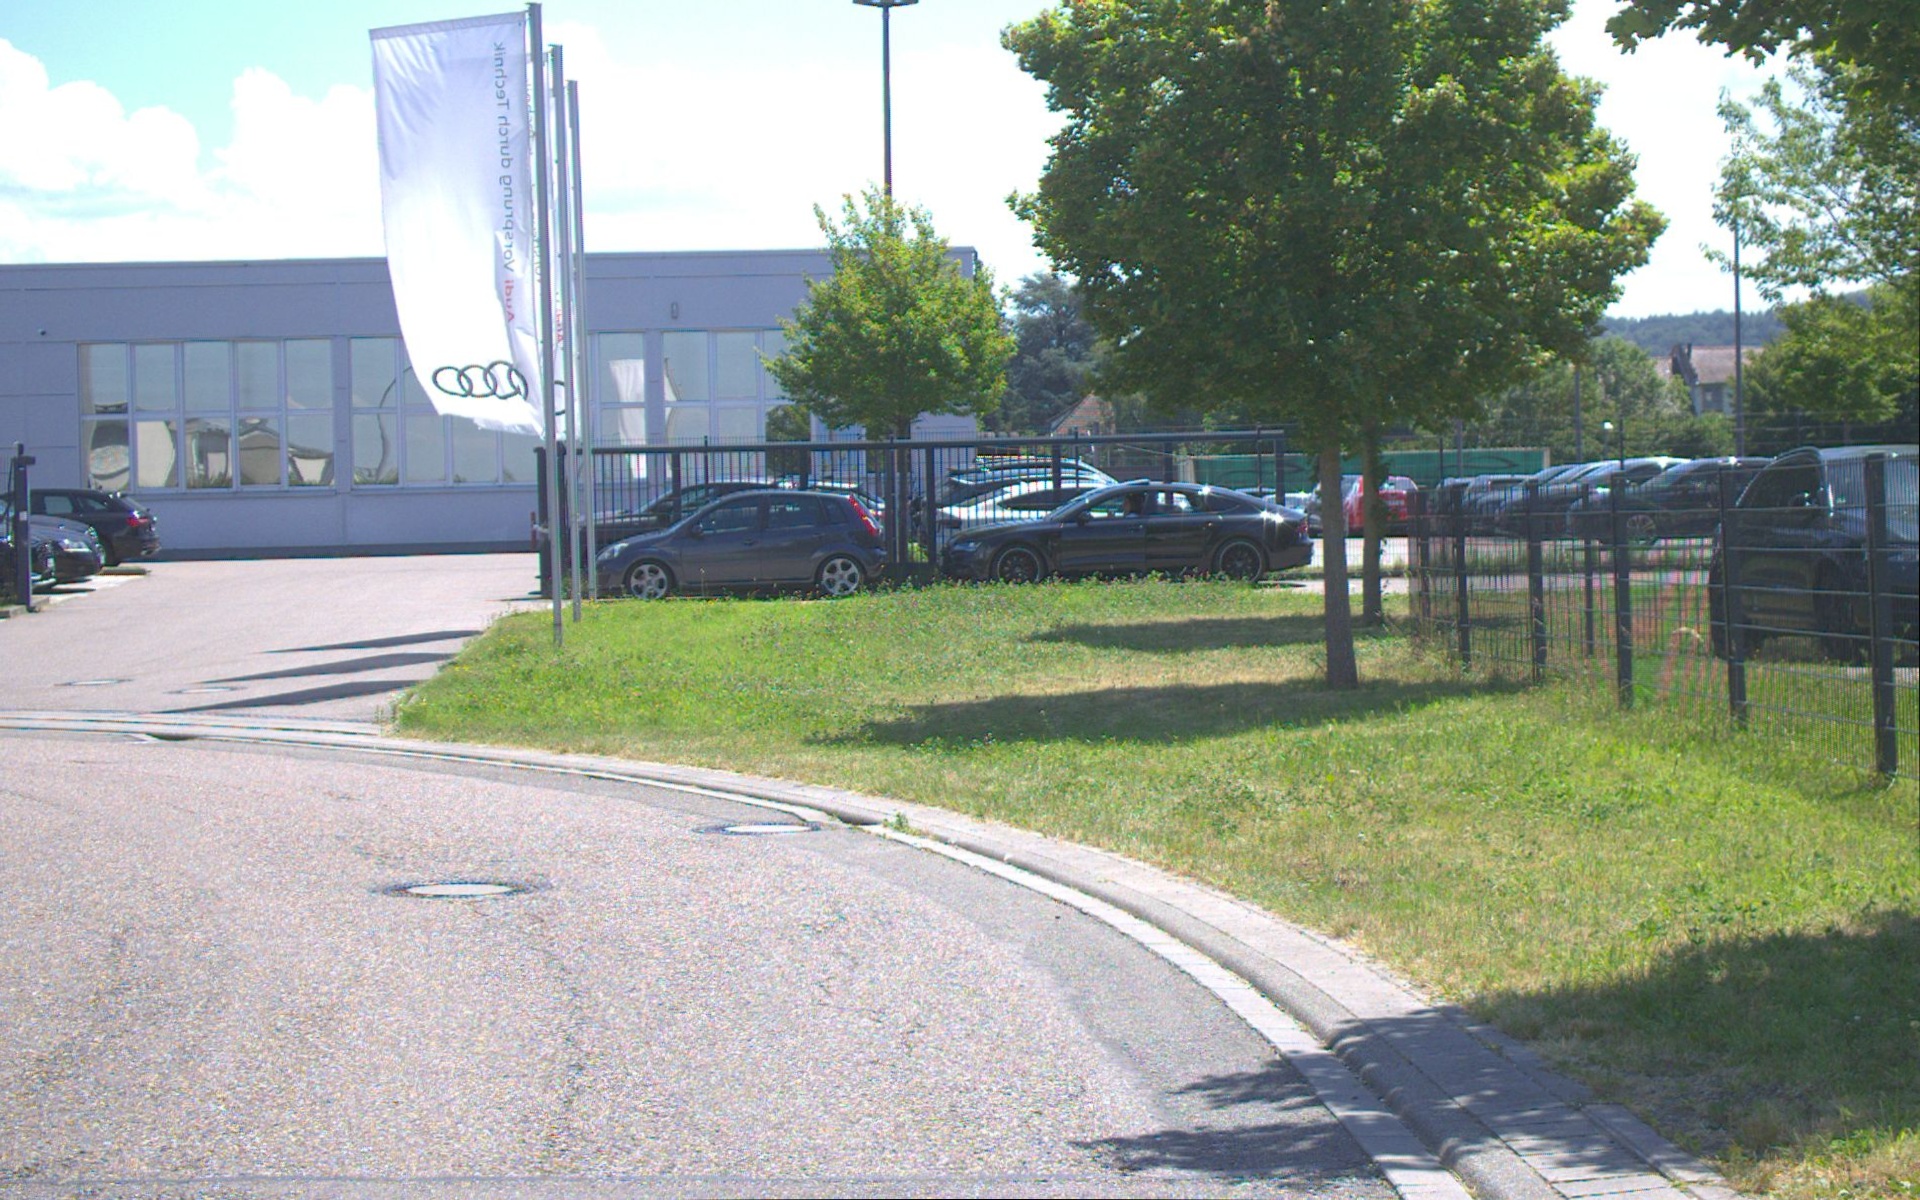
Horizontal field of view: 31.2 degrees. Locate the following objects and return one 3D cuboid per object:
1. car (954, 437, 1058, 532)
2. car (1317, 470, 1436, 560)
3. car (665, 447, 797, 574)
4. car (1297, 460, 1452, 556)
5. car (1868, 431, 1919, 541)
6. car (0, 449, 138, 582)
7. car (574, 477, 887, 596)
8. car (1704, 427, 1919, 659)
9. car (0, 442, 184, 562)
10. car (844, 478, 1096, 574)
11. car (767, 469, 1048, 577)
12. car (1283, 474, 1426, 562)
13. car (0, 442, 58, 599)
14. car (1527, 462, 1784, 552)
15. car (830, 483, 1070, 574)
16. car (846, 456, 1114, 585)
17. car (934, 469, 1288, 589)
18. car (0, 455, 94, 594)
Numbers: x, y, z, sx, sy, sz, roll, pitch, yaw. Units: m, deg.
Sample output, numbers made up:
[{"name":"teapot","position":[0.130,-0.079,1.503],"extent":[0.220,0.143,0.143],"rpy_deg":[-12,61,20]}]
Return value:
[{"name":"car","position":[0.981,-2.495,74.998],"extent":[1.993,1.821,4.000],"rpy_deg":[-2,-1,-2]},{"name":"car","position":[9.368,-1.887,77.593],"extent":[1.993,1.821,4.000],"rpy_deg":[-2,-1,-2]},{"name":"car","position":[-3.702,-1.406,55.281],"extent":[1.993,1.821,4.000],"rpy_deg":[-2,-1,-4]},{"name":"car","position":[6.912,-1.510,57.679],"extent":[1.993,1.393,4.000],"rpy_deg":[-2,-1,-1]},{"name":"car","position":[14.963,-1.601,47.077],"extent":[4.437,1.393,2.000],"rpy_deg":[-2,-1,-4]},{"name":"car","position":[-14.996,-1.218,51.460],"extent":[4.883,1.916,2.000],"rpy_deg":[-2,1,-3]},{"name":"car","position":[-3.018,-0.823,45.253],"extent":[3.986,1.393,2.000],"rpy_deg":[-2,-1,-4]},{"name":"car","position":[6.771,-0.439,24.551],"extent":[1.735,1.517,3.896],"rpy_deg":[-2,1,-5]},{"name":"car","position":[-15.722,-1.614,57.807],"extent":[4.883,1.916,2.000],"rpy_deg":[-2,1,-3]},{"name":"car","position":[0.135,-1.202,56.493],"extent":[3.986,1.393,2.000],"rpy_deg":[-2,-1,-4]},{"name":"car","position":[-0.803,-1.113,50.207],"extent":[3.986,1.393,2.000],"rpy_deg":[-2,-1,-4]},{"name":"car","position":[7.086,-1.457,62.052],"extent":[1.993,1.393,4.000],"rpy_deg":[-2,-1,-1]},{"name":"car","position":[-15.192,-1.006,46.695],"extent":[5.317,2.090,2.000],"rpy_deg":[-2,1,-3]},{"name":"car","position":[12.151,-1.622,60.238],"extent":[3.986,1.393,2.000],"rpy_deg":[-2,-1,-4]},{"name":"car","position":[-0.202,-1.213,59.083],"extent":[3.986,1.393,2.000],"rpy_deg":[-2,-1,-4]},{"name":"car","position":[0.270,-1.216,53.445],"extent":[3.986,1.821,2.000],"rpy_deg":[-2,-1,-4]},{"name":"car","position":[1.949,-0.922,45.440],"extent":[4.437,1.393,2.000],"rpy_deg":[-2,-1,-4]},{"name":"car","position":[-14.893,-1.023,49.014],"extent":[4.586,1.916,2.000],"rpy_deg":[-2,1,-3]}]
